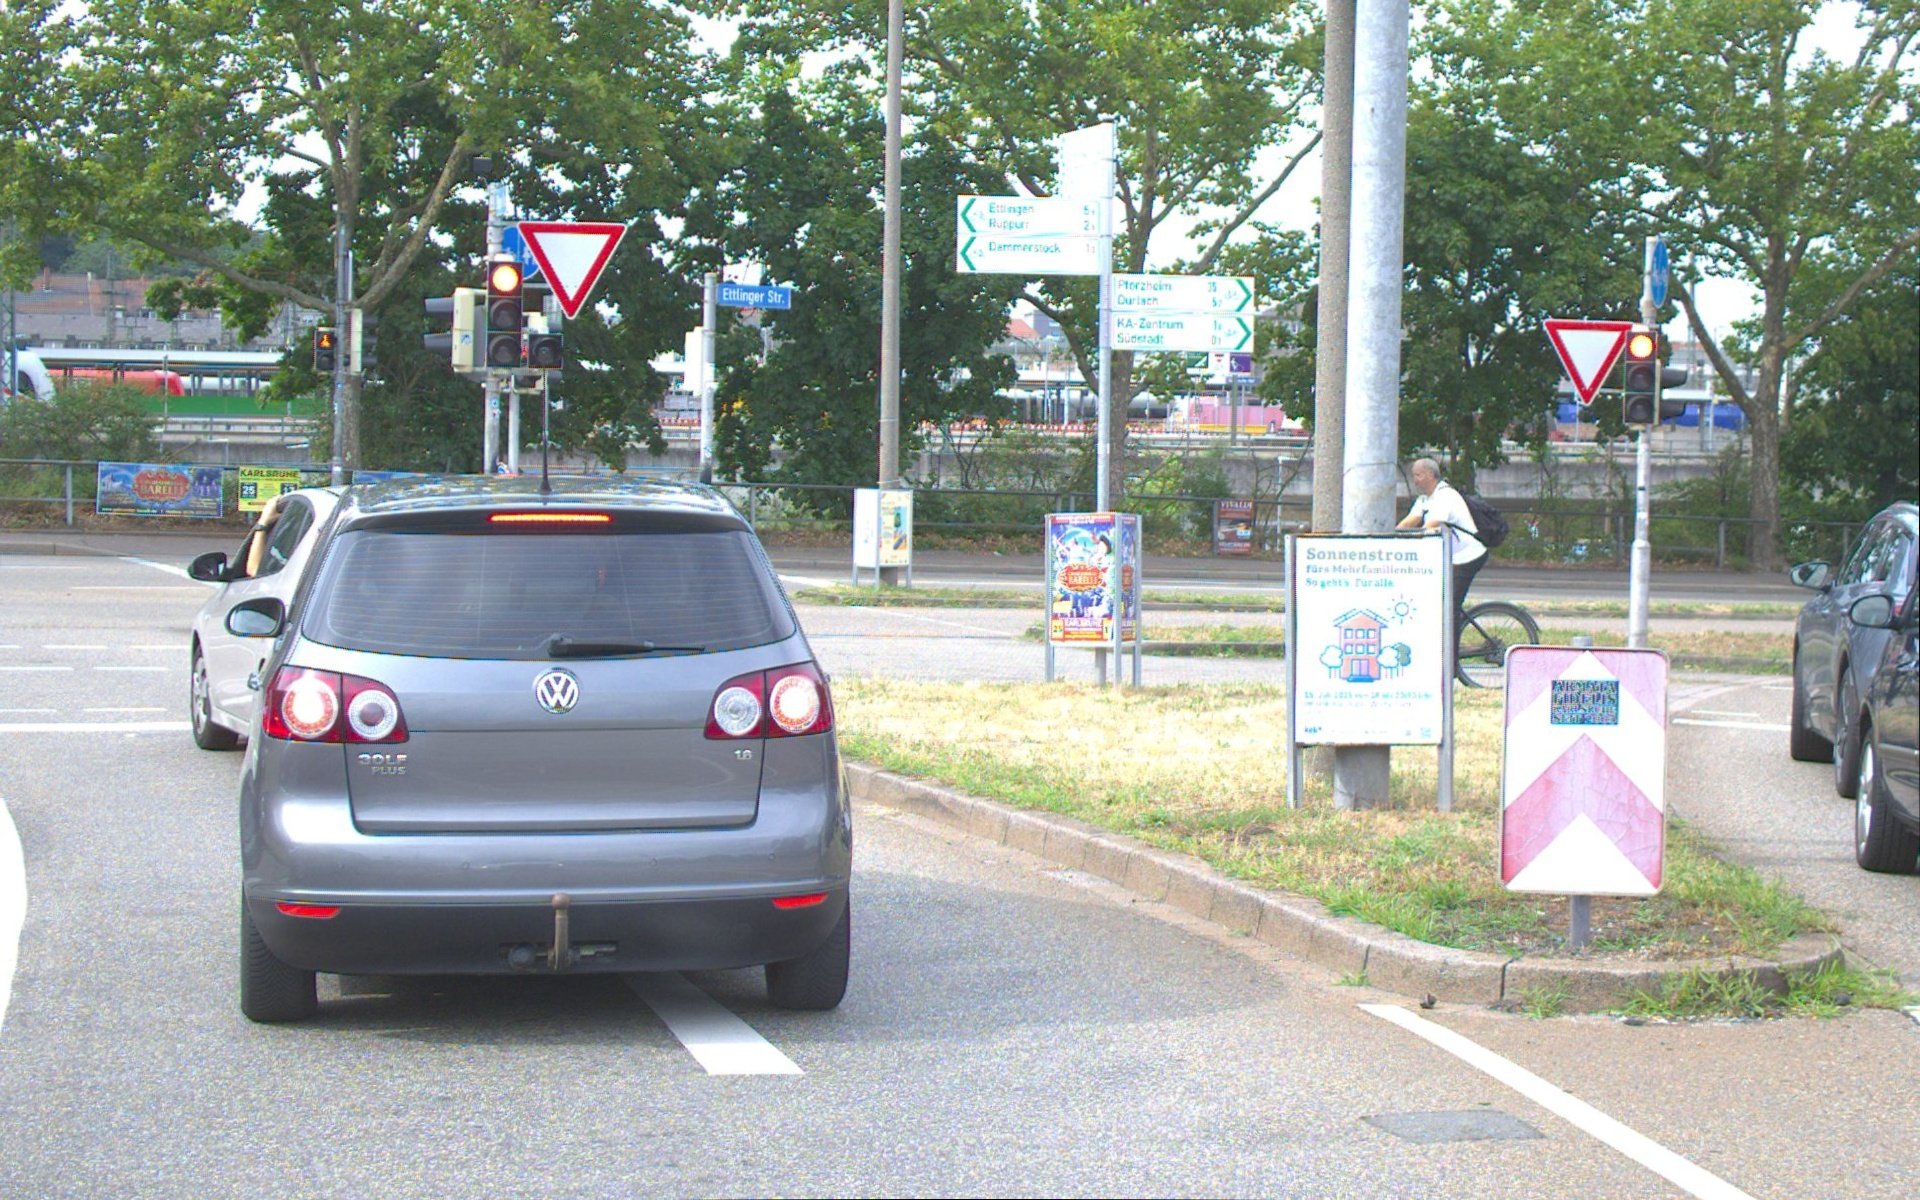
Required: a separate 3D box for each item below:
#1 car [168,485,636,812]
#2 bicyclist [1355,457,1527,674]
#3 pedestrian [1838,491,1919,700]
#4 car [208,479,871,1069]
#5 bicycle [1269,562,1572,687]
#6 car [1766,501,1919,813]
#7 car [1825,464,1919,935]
[{"bbox_3d":[-2.993,0.157,17.742,1.740,1.477,4.083,0,2,-18],"label":"car"},{"bbox_3d":[3.811,-0.283,27.285,1.112,1.690,0.813,0,2,-12],"label":"bicyclist"},{"bbox_3d":[7.928,-0.041,28.777,1.048,1.704,0.853,2,2,15],"label":"pedestrian"},{"bbox_3d":[-1.486,0.394,11.124,1.740,1.541,4.083,0,2,-11],"label":"car"},{"bbox_3d":[3.645,0.188,27.267,2.227,0.949,0.812,0,2,-12],"label":"bicycle"},{"bbox_3d":[5.672,0.287,19.594,1.691,1.580,4.155,3,1,8],"label":"car"},{"bbox_3d":[4.439,0.392,12.776,1.751,1.719,4.137,3,1,6],"label":"car"}]
